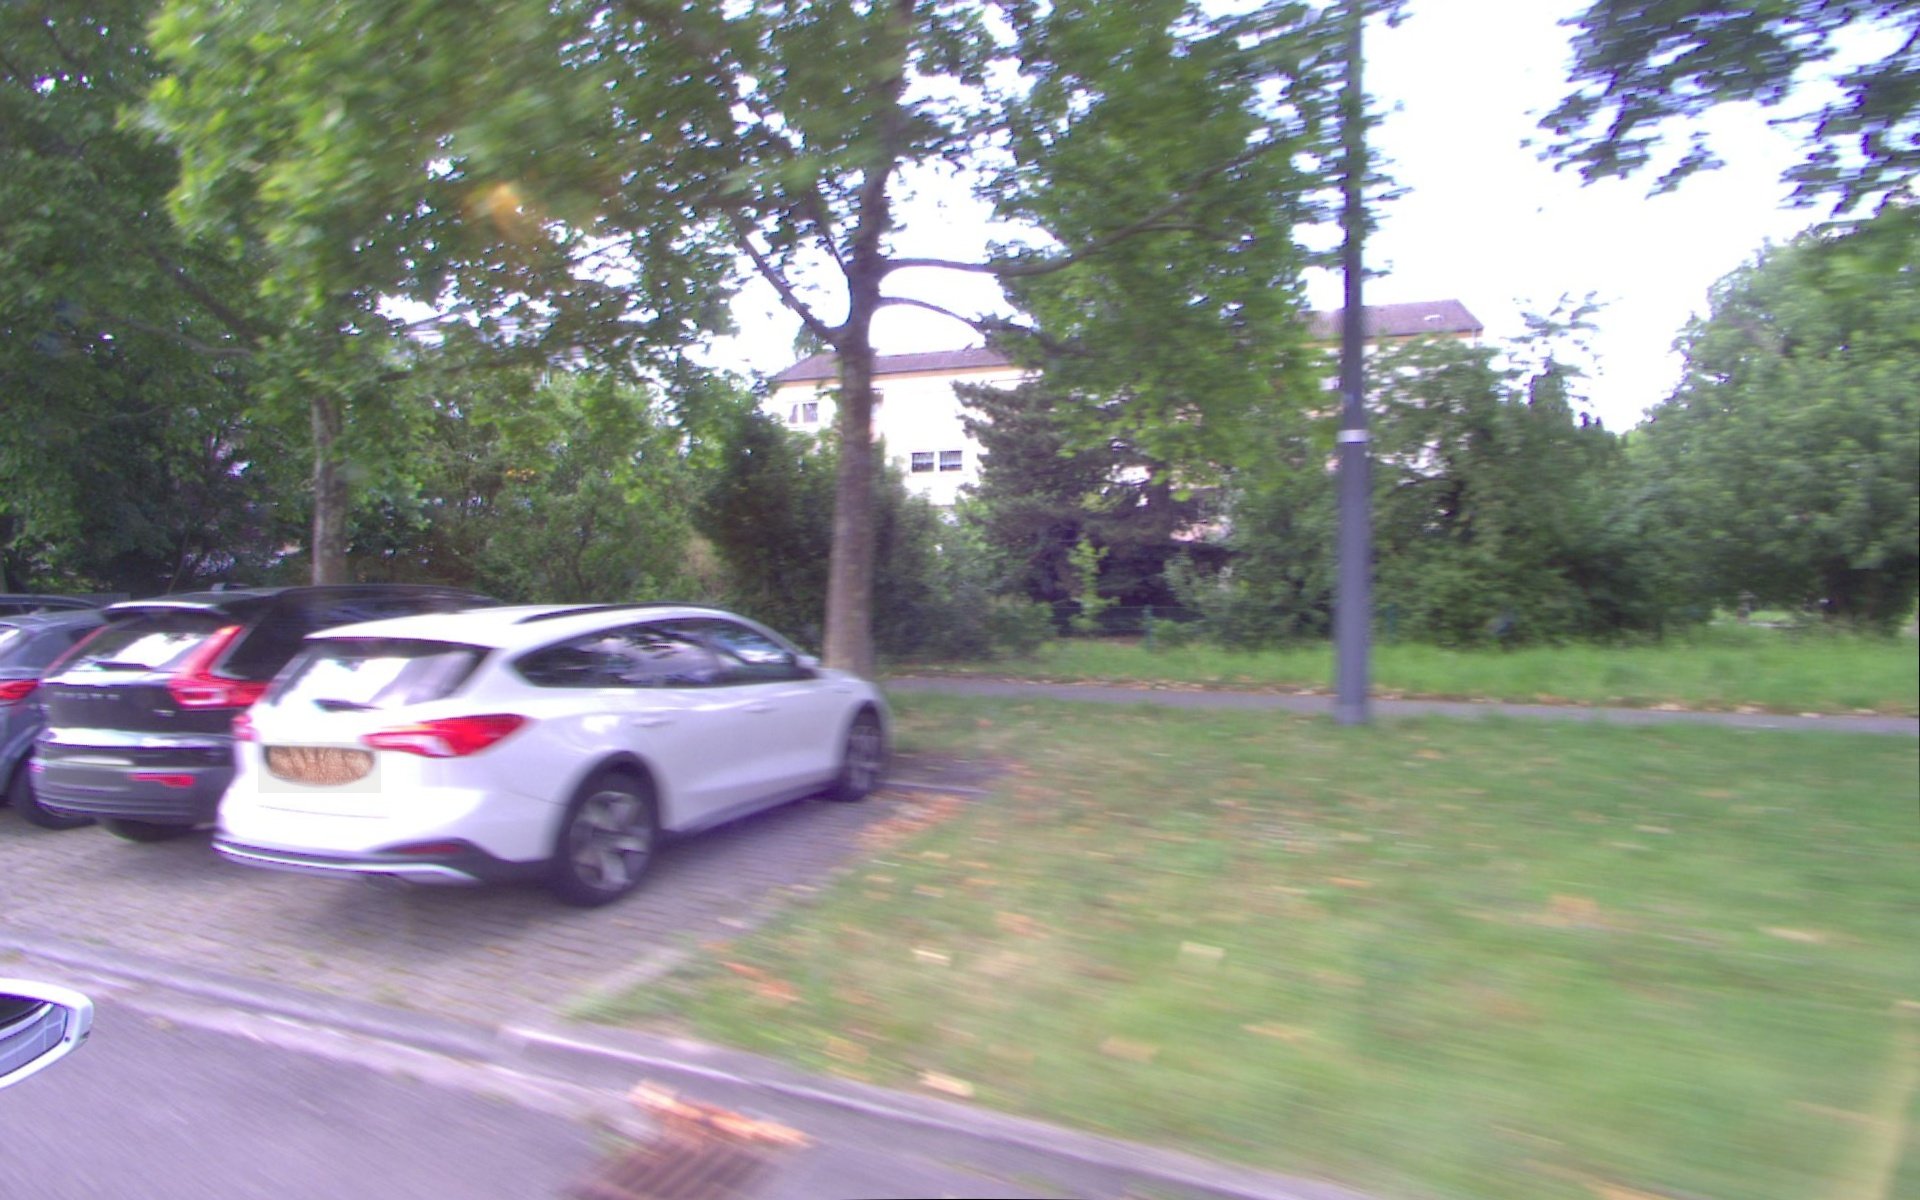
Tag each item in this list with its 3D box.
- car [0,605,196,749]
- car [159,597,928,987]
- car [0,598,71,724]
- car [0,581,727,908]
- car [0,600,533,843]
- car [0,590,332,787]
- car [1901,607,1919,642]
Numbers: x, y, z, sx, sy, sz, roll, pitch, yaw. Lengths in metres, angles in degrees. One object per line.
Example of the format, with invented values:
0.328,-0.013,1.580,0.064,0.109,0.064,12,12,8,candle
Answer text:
-11.116,0.846,10.994,1.728,1.514,3.964,0,1,26,car
-1.989,0.757,6.464,1.816,1.493,4.660,0,1,22,car
-13.576,0.816,12.052,1.724,1.627,3.972,0,1,16,car
-3.904,0.699,7.544,1.816,1.648,4.660,0,1,22,car
-6.126,0.796,8.636,1.729,1.521,4.376,0,1,28,car
-8.680,0.758,9.456,1.729,1.661,4.376,0,1,28,car
43.067,1.079,42.632,1.961,1.533,4.686,-1,0,6,car
